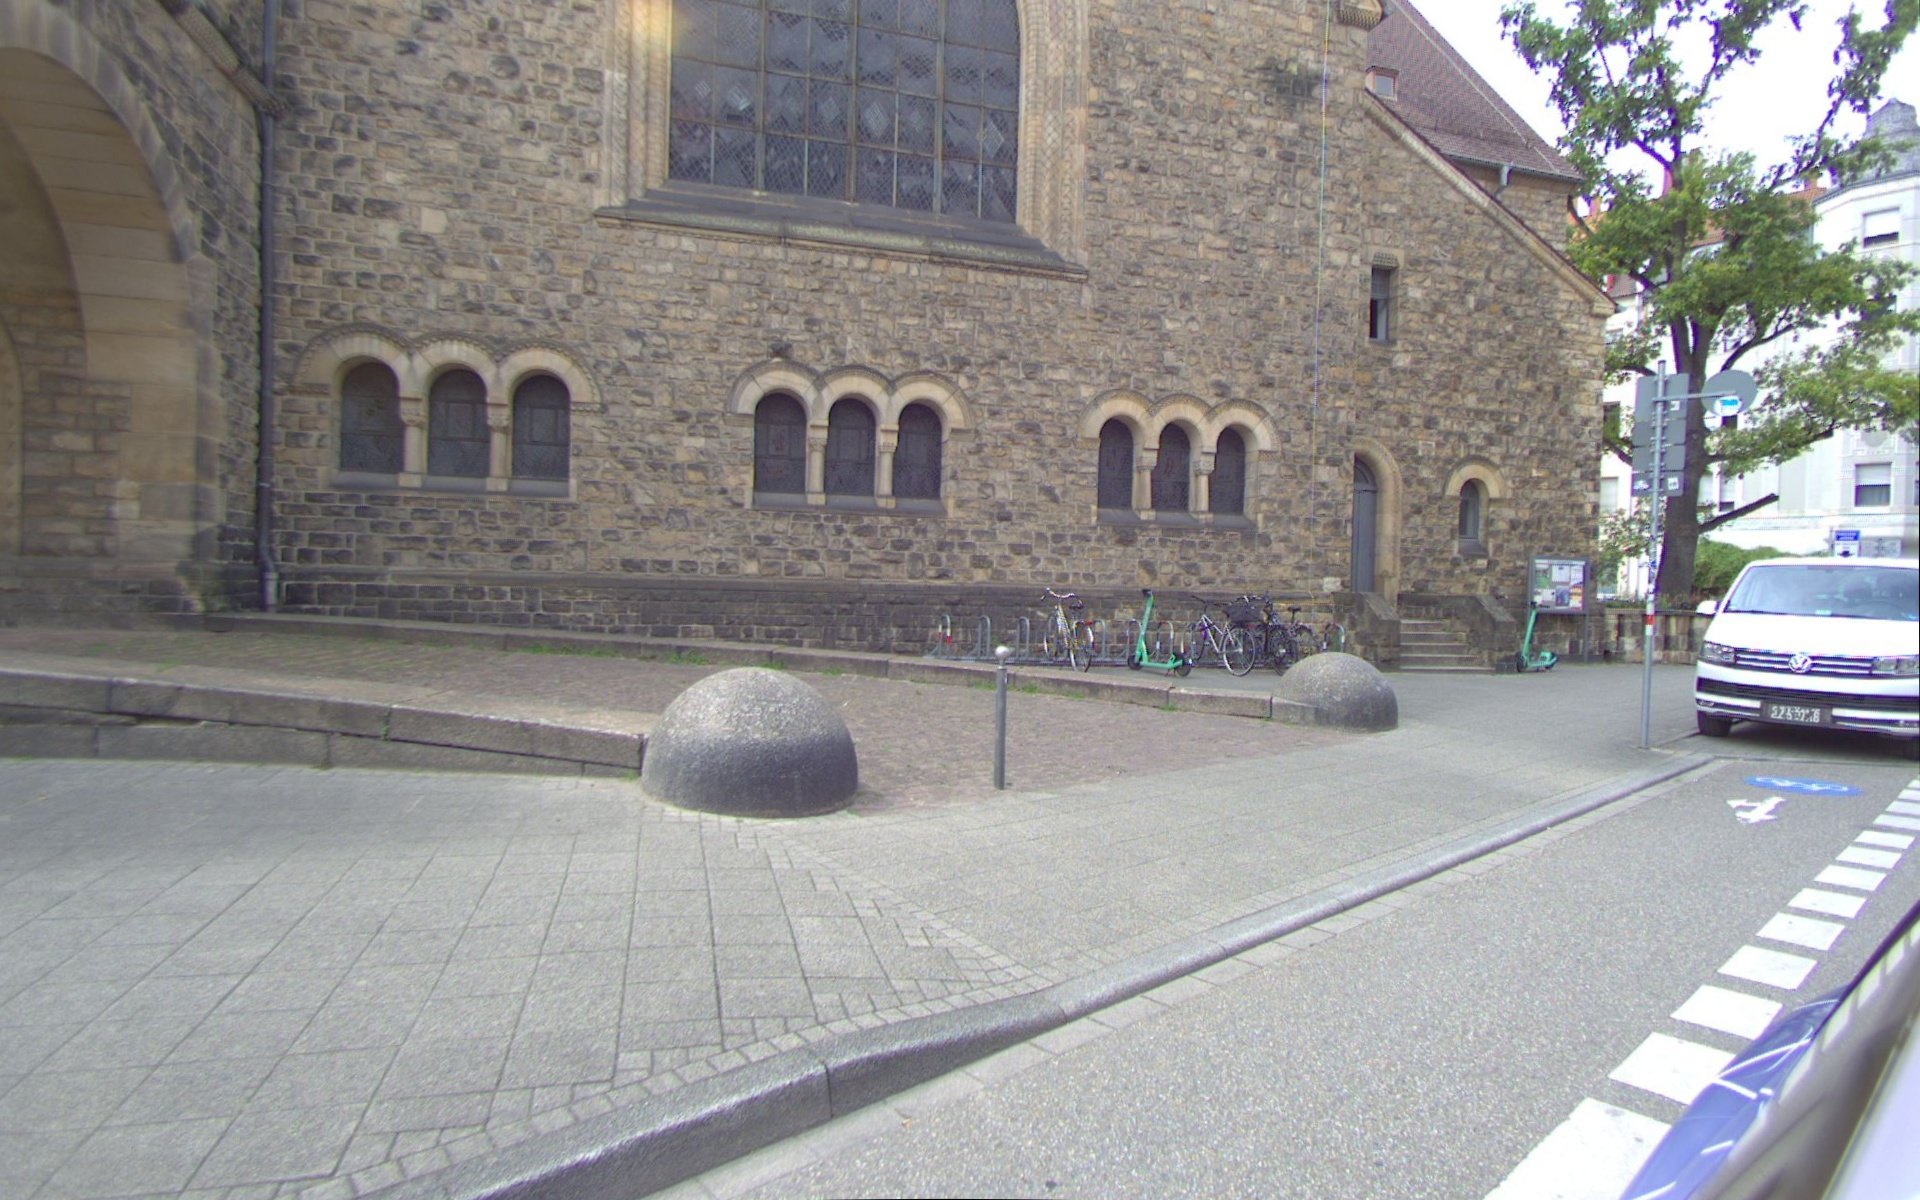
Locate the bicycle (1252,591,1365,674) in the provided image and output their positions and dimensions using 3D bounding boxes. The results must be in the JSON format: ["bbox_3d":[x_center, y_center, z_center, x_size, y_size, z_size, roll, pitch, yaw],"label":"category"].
[{"bbox_3d":[5.187,0.450,15.172,0.534,1.125,1.786,1,1,-21],"label":"bicycle"}]

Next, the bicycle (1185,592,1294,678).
[{"bbox_3d":[4.028,0.472,14.726,0.534,1.125,1.786,1,1,-21],"label":"bicycle"}]

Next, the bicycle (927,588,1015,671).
[{"bbox_3d":[0.114,0.368,13.735,0.534,0.969,1.787,1,3,-21],"label":"bicycle"}]

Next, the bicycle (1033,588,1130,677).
[{"bbox_3d":[1.662,0.418,14.136,0.534,1.125,1.786,1,1,-21],"label":"bicycle"}]

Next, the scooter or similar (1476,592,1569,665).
[{"bbox_3d":[9.706,0.493,17.465,1.450,1.222,0.547,1,1,-21],"label":"scooter or similar"}]

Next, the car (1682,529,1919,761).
[{"bbox_3d":[9.888,0.402,11.172,5.035,2.054,2.018,1,2,-42],"label":"car"}]

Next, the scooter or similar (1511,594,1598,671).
[{"bbox_3d":[9.879,0.533,16.803,1.413,1.222,0.547,1,1,-27],"label":"scooter or similar"}]

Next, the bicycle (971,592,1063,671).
[{"bbox_3d":[0.749,0.403,13.923,0.534,0.969,1.786,1,1,-21],"label":"bicycle"}]

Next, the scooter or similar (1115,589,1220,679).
[{"bbox_3d":[2.907,0.452,14.377,0.534,1.154,1.786,1,1,-21],"label":"scooter or similar"}]

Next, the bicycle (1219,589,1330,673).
[{"bbox_3d":[4.601,0.426,14.926,0.534,1.125,1.779,1,1,-21],"label":"bicycle"}]
